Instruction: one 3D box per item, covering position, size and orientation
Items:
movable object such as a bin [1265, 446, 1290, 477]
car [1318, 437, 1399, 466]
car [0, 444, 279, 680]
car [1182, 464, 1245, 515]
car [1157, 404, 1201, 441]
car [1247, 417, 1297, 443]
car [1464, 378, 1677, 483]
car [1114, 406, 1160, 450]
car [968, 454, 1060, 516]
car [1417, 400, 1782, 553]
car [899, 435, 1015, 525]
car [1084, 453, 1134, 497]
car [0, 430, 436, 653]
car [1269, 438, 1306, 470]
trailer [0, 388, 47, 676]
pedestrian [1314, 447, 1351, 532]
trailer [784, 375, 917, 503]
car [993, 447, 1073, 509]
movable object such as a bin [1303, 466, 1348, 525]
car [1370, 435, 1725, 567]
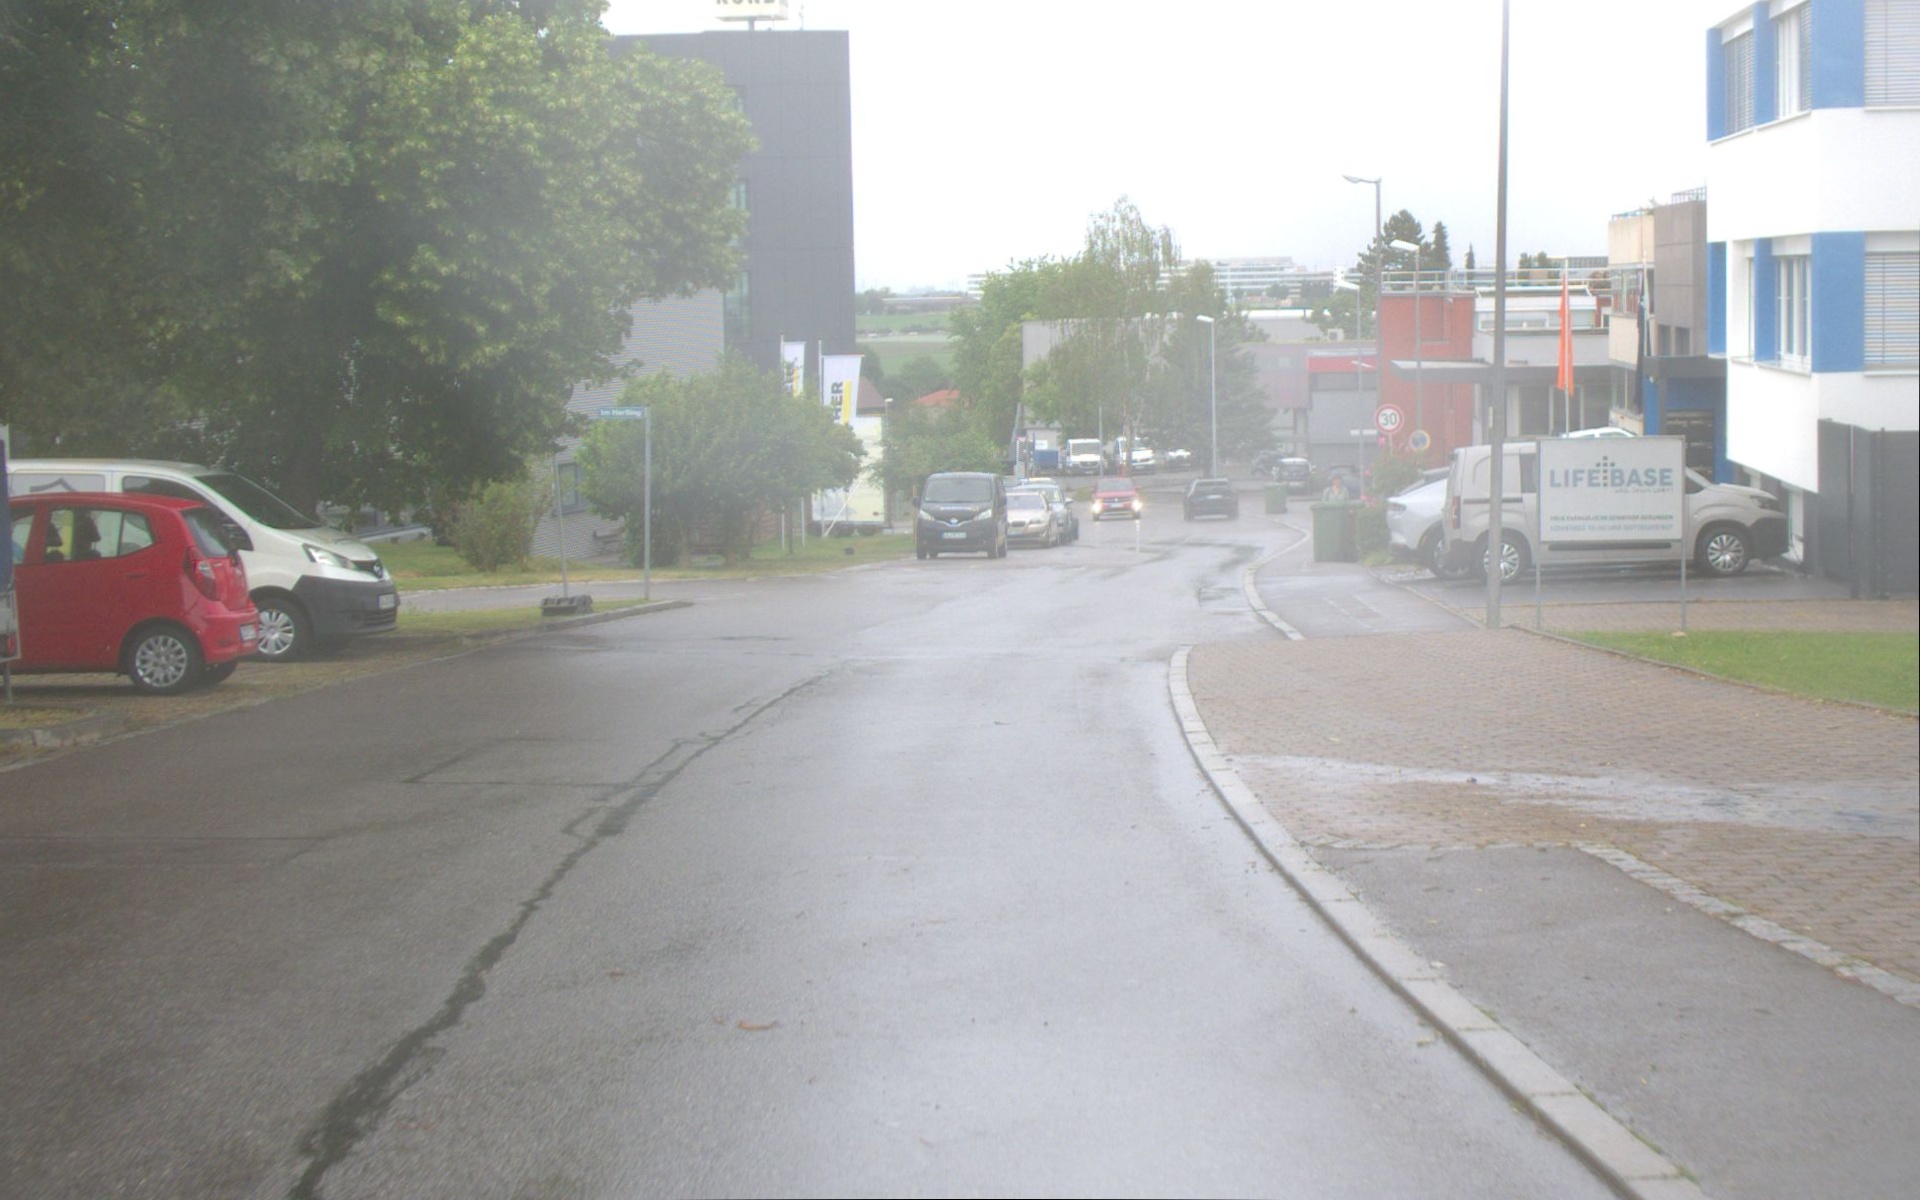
[{"bbox_3d":[11.520,-5.013,124.569,0.806,1.089,0.709,-2,3,0],"label":"movable object such as a bin"},{"bbox_3d":[17.007,-6.339,146.724,3.401,1.159,1.791,-1,3,7],"label":"car"},{"bbox_3d":[-7.568,-0.281,26.597,4.195,1.715,1.755,-2,2,0],"label":"car"},{"bbox_3d":[8.830,-3.844,119.978,1.956,1.670,4.473,-2,2,2],"label":"car"},{"bbox_3d":[12.780,-10.350,200.986,2.145,2.006,3.940,-2,2,-1],"label":"car"},{"bbox_3d":[16.952,-9.252,186.752,2.548,1.347,1.242,-1,3,0],"label":"car"},{"bbox_3d":[16.565,-4.589,93.520,5.299,2.006,2.222,-9,1,6],"label":"car"},{"bbox_3d":[10.291,-10.021,200.219,2.192,2.450,4.001,-2,2,-3],"label":"car"},{"bbox_3d":[1.418,-2.980,88.323,1.956,1.456,5.247,-1,3,5],"label":"car"},{"bbox_3d":[8.150,-1.592,44.137,4.341,1.767,2.089,-2,3,4],"label":"car"},{"bbox_3d":[-0.026,-2.595,73.755,1.916,1.825,4.847,-1,2,6],"label":"car"},{"bbox_3d":[5.571,-4.667,129.003,1.747,1.503,3.935,-4,2,2],"label":"car"},{"bbox_3d":[-7.203,-0.537,31.650,4.301,1.899,1.861,-1,2,8],"label":"car"},{"bbox_3d":[15.665,-6.992,164.663,1.697,1.470,4.000,-1,2,5],"label":"car"},{"bbox_3d":[-8.713,-0.415,23.826,4.212,1.977,1.774,-2,2,3],"label":"trailer"},{"bbox_3d":[7.813,-2.321,72.154,0.737,1.761,0.808,-1,2,7],"label":"pedestrian"},{"bbox_3d":[-3.747,-5.465,117.077,4.183,4.188,2.001,0,3,44],"label":"trailer"},{"bbox_3d":[2.037,-3.363,94.660,1.957,1.571,4.840,-2,2,4],"label":"car"},{"bbox_3d":[6.517,-1.864,61.294,0.772,1.026,0.808,-1,3,7],"label":"movable object such as a bin"},{"bbox_3d":[8.014,-1.380,47.262,4.597,1.533,2.079,-3,2,5],"label":"car"}]
